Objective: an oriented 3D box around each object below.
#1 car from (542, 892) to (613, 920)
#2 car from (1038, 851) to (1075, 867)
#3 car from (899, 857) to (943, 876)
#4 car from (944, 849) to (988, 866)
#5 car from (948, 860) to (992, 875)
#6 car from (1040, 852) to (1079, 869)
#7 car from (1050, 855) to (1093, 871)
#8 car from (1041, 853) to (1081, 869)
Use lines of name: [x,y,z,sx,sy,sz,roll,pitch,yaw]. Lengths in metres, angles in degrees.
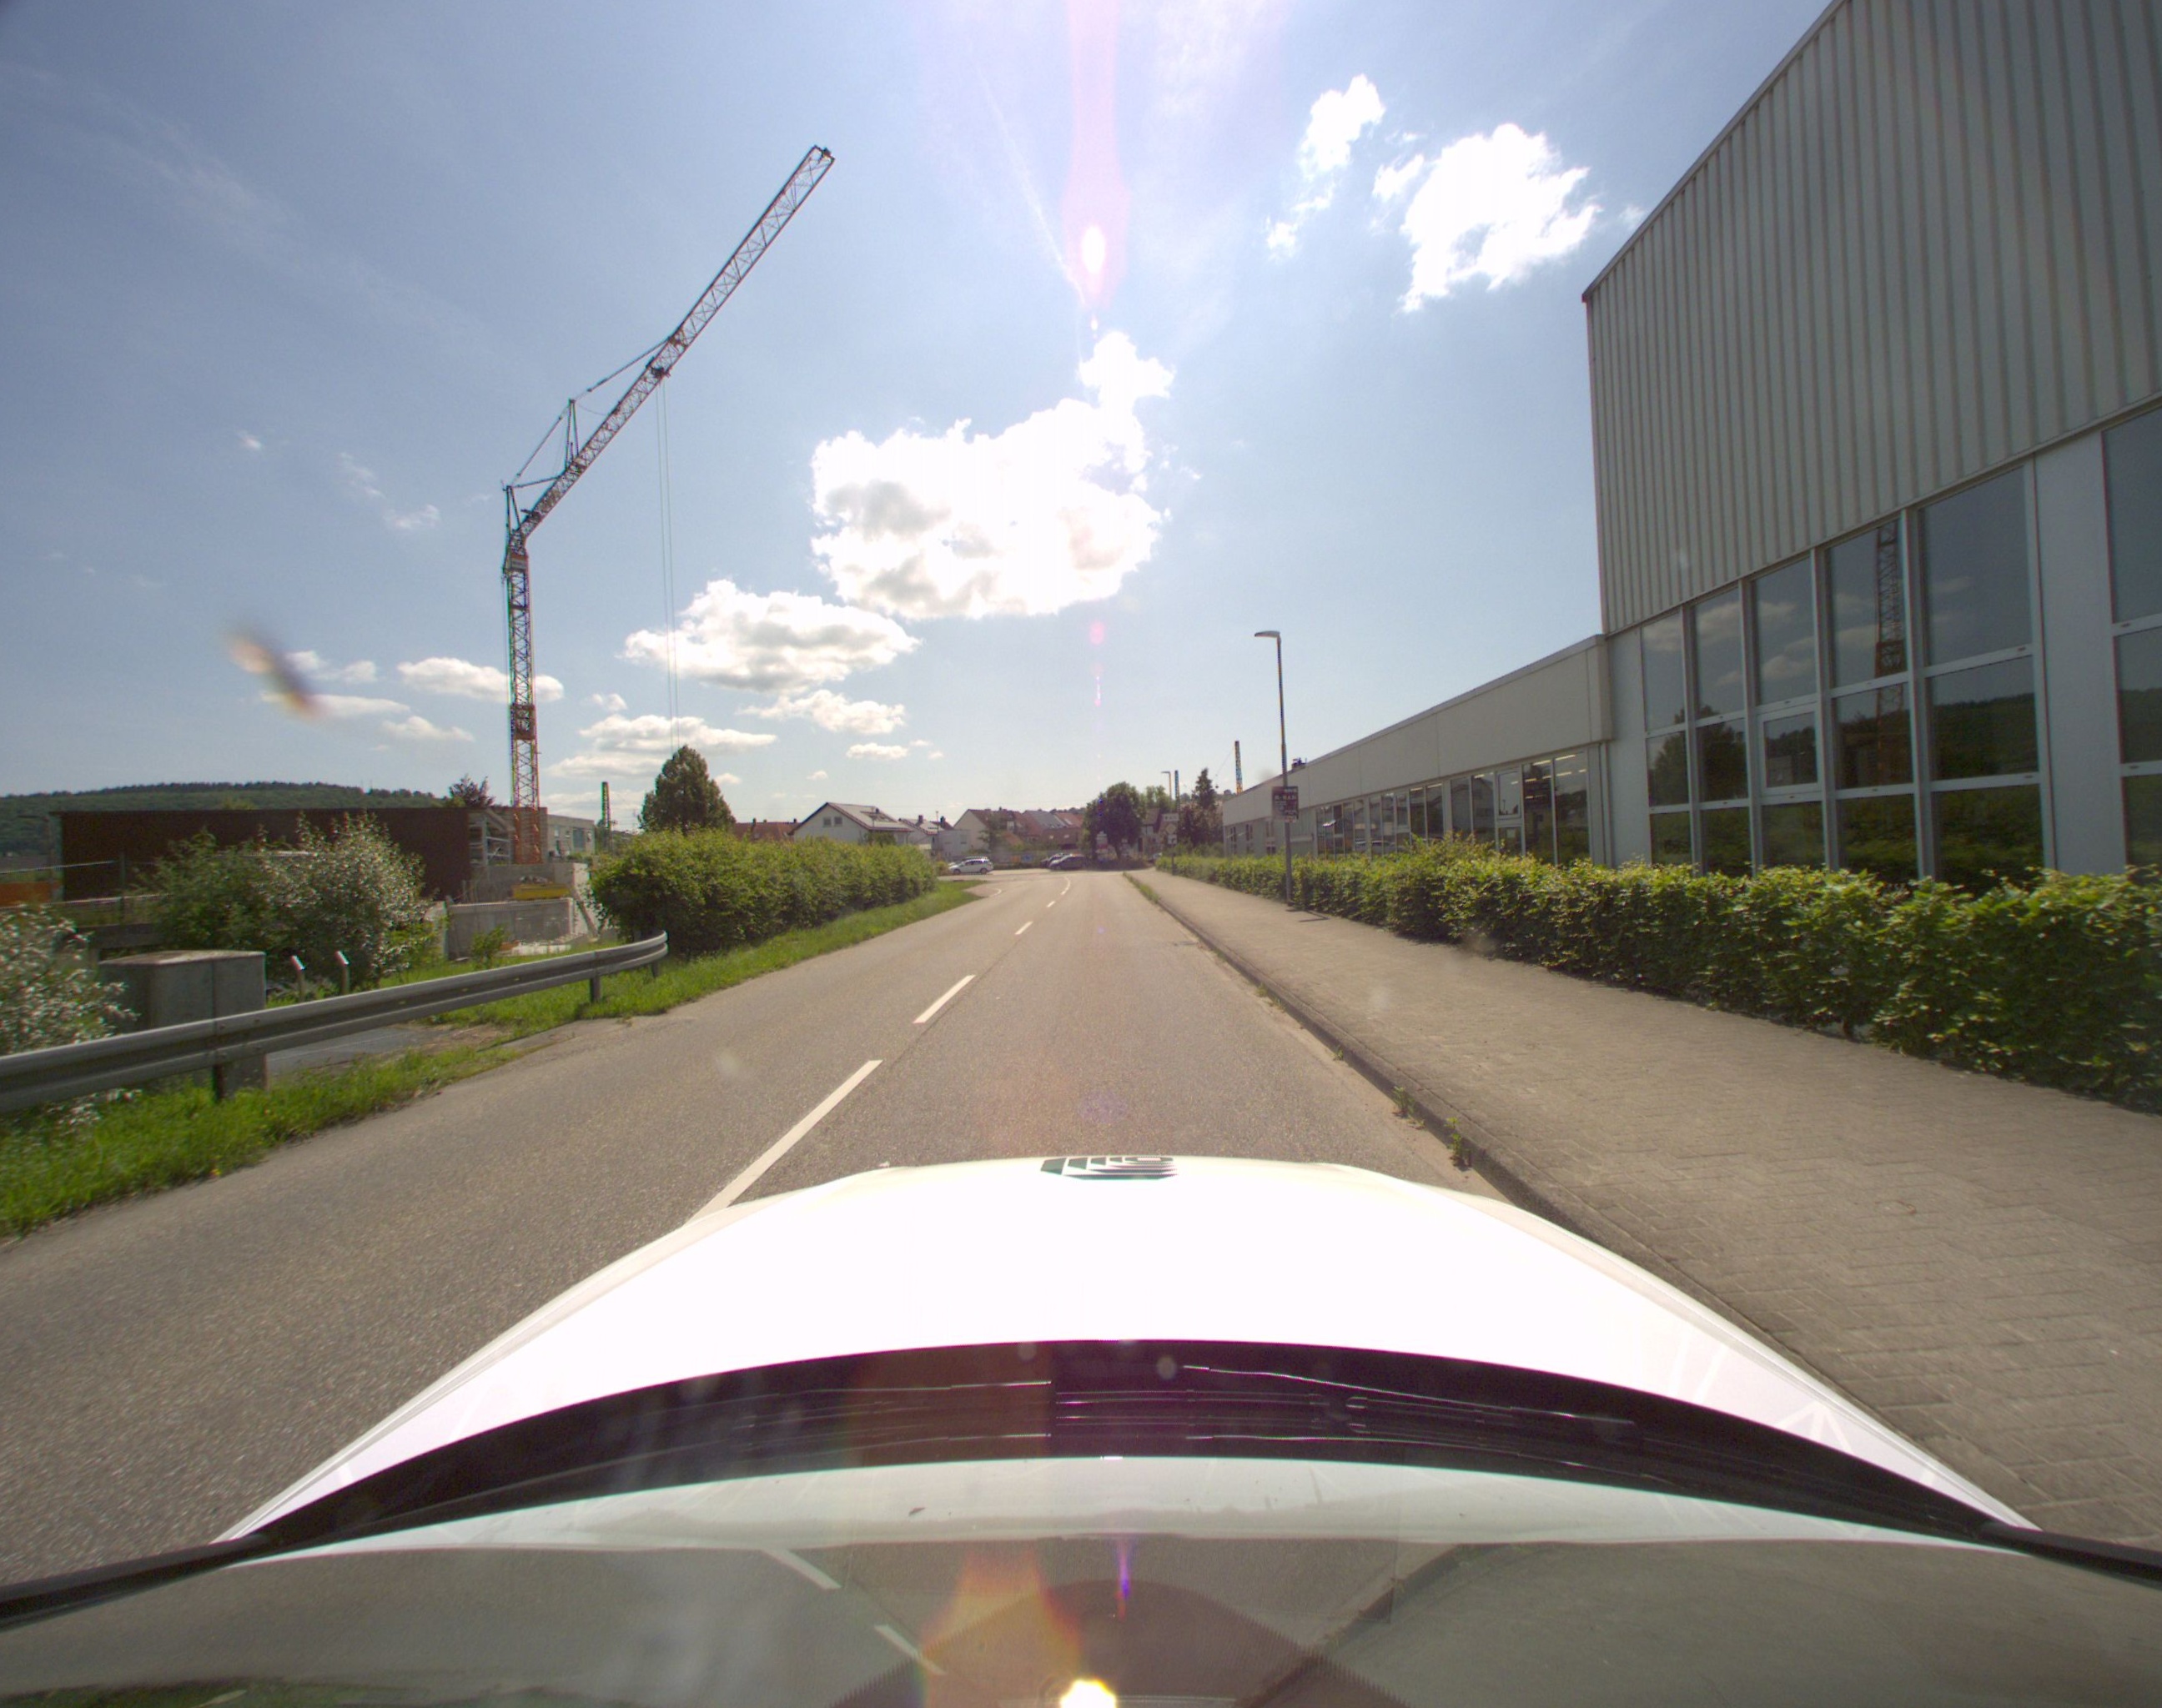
car: [-31.985,3.269,51.873,3.741,1.486,1.842,-3,0,-31]
car: [-2.773,0.566,91.044,3.986,1.730,1.765,0,-1,-9]
car: [-16.239,1.298,82.789,4.170,1.638,1.944,-4,0,-16]
car: [-12.158,0.351,86.299,4.449,1.690,1.995,-2,1,-8]
car: [-11.099,1.339,81.529,4.285,1.477,1.820,0,-1,-11]
car: [-2.322,0.722,88.000,3.986,1.657,1.994,-2,0,-9]
car: [-1.020,0.927,83.514,4.185,1.463,1.660,-2,-1,-8]
car: [-2.078,0.735,85.737,3.985,1.586,1.774,-2,-1,-9]
